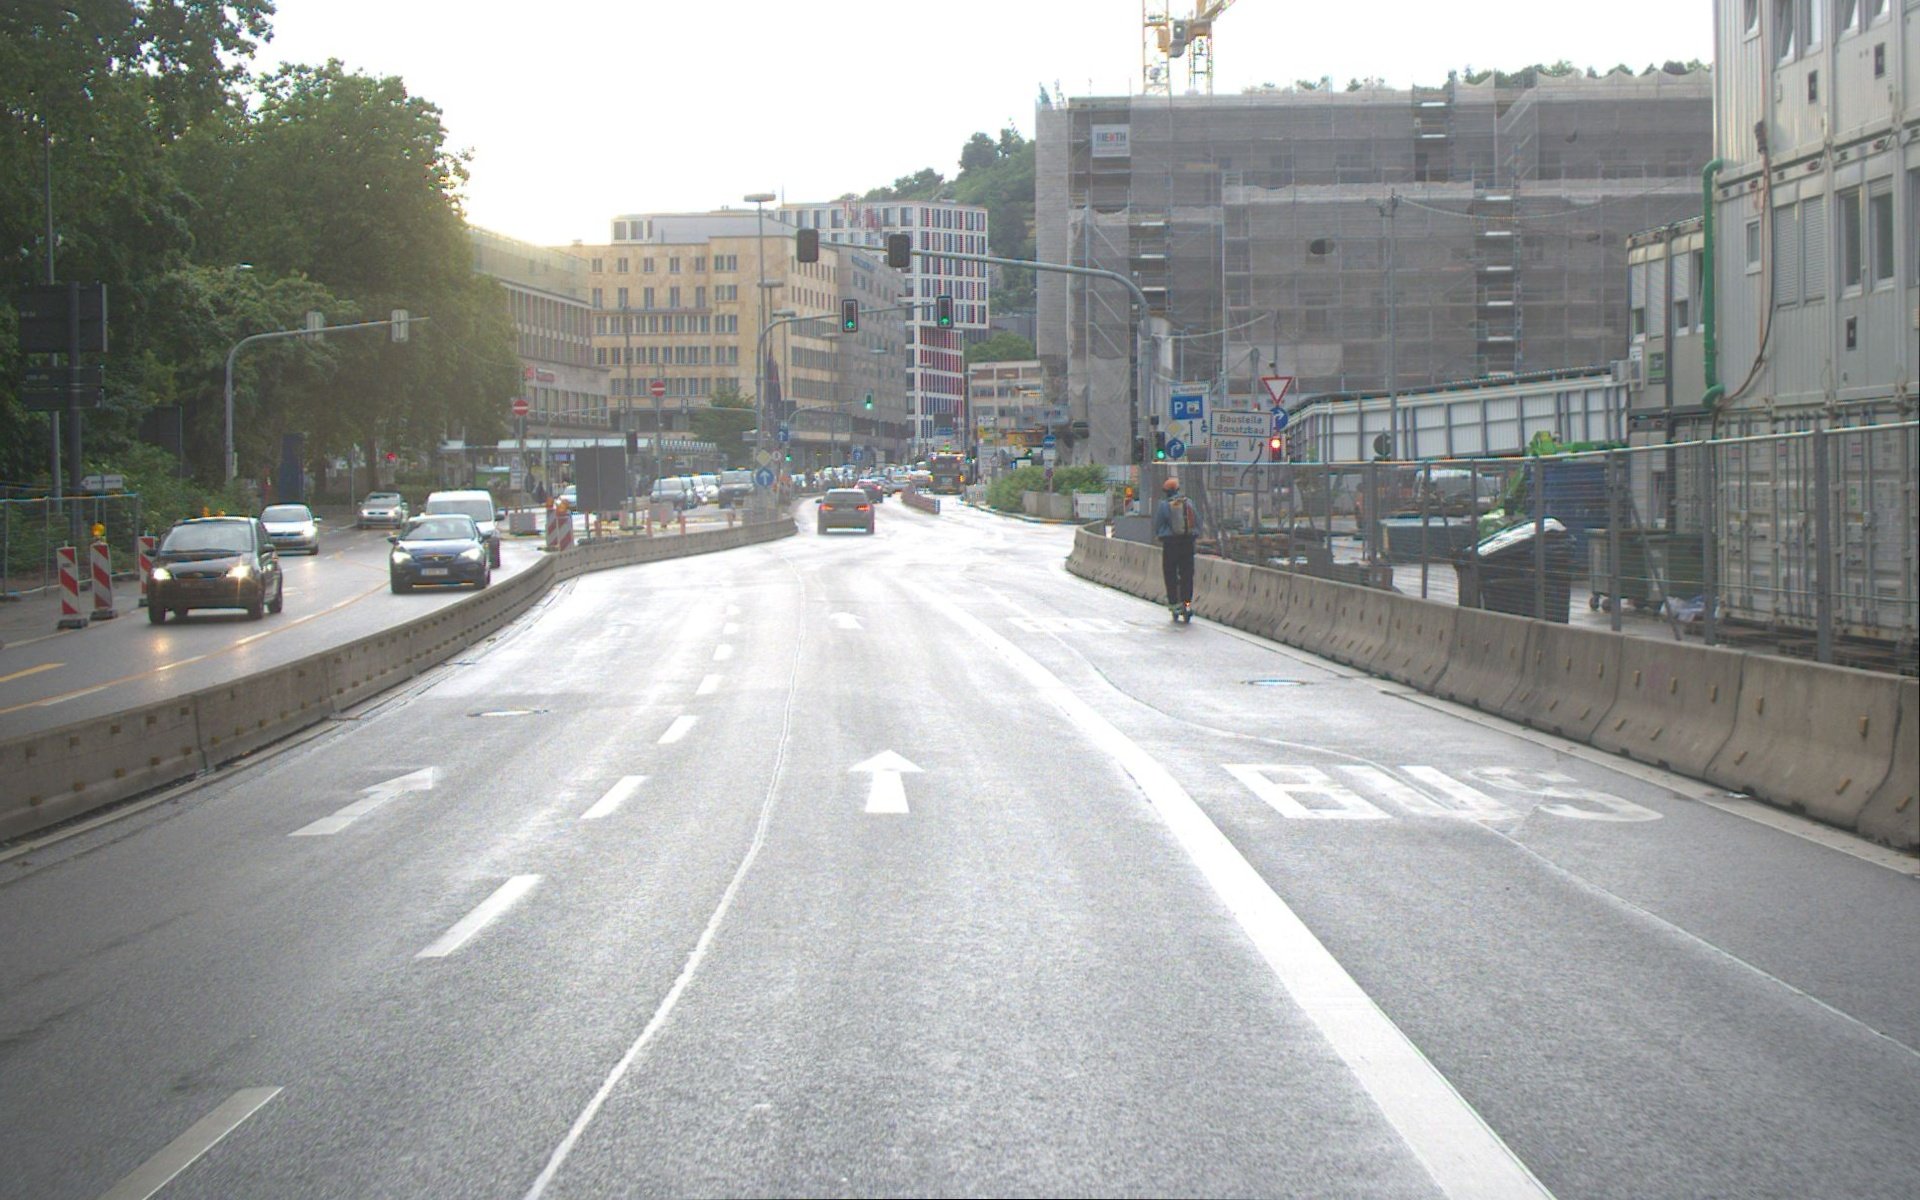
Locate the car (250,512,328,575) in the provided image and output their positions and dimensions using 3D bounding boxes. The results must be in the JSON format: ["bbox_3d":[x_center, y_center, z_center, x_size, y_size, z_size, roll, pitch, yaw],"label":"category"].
[{"bbox_3d":[-19.857,-1.658,101.872,1.875,1.700,4.001,-2,0,-6],"label":"car"}]

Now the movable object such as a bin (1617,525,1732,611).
[{"bbox_3d":[9.911,-0.438,47.712,1.246,1.119,1.239,-2,0,-3],"label":"movable object such as a bin"}]

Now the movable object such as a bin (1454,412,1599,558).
[{"bbox_3d":[11.258,-2.336,68.549,1.806,2.799,3.868,0,3,-7],"label":"movable object such as a bin"}]

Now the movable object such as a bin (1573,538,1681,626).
[{"bbox_3d":[9.876,-0.261,50.953,1.246,1.232,1.239,-2,0,-4],"label":"movable object such as a bin"}]

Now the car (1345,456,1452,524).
[{"bbox_3d":[12.983,-3.276,102.106,1.911,1.968,5.164,0,2,-7],"label":"car"}]

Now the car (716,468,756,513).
[{"bbox_3d":[-11.374,-5.536,174.621,1.902,2.075,4.178,-2,0,-4],"label":"car"}]

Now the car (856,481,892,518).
[{"bbox_3d":[-5.088,-5.977,204.763,1.993,2.007,4.000,-2,0,-1],"label":"car"}]

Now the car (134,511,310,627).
[{"bbox_3d":[-11.691,-0.530,54.739,2.030,1.647,4.320,-1,3,-3],"label":"car"}]

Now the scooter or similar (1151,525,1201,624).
[{"bbox_3d":[2.962,-0.368,47.267,0.597,1.314,1.667,0,2,0],"label":"scooter or similar"}]

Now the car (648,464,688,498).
[{"bbox_3d":[-14.801,-6.017,174.383,1.902,1.523,4.178,-2,0,-4],"label":"car"}]

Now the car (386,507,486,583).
[{"bbox_3d":[-9.959,-1.063,65.587,1.711,1.334,4.063,-3,2,-7],"label":"car"}]

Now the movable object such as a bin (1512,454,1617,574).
[{"bbox_3d":[11.363,-1.636,64.683,1.456,2.195,1.265,-2,4,-25],"label":"movable object such as a bin"}]

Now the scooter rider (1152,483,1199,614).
[{"bbox_3d":[2.957,-0.714,47.235,0.597,1.779,0.997,0,2,0],"label":"scooter rider"}]

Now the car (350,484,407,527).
[{"bbox_3d":[-23.657,-3.830,139.918,1.993,1.536,4.446,-2,0,-6],"label":"car"}]

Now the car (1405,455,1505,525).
[{"bbox_3d":[13.813,-3.100,96.174,1.846,1.800,5.088,0,3,-3],"label":"car"}]

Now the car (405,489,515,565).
[{"bbox_3d":[-11.828,-1.744,81.623,2.030,1.647,4.912,-3,1,-3],"label":"car"}]

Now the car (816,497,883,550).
[{"bbox_3d":[-3.578,-2.435,110.298,1.902,1.523,4.178,-2,0,-4],"label":"car"}]
